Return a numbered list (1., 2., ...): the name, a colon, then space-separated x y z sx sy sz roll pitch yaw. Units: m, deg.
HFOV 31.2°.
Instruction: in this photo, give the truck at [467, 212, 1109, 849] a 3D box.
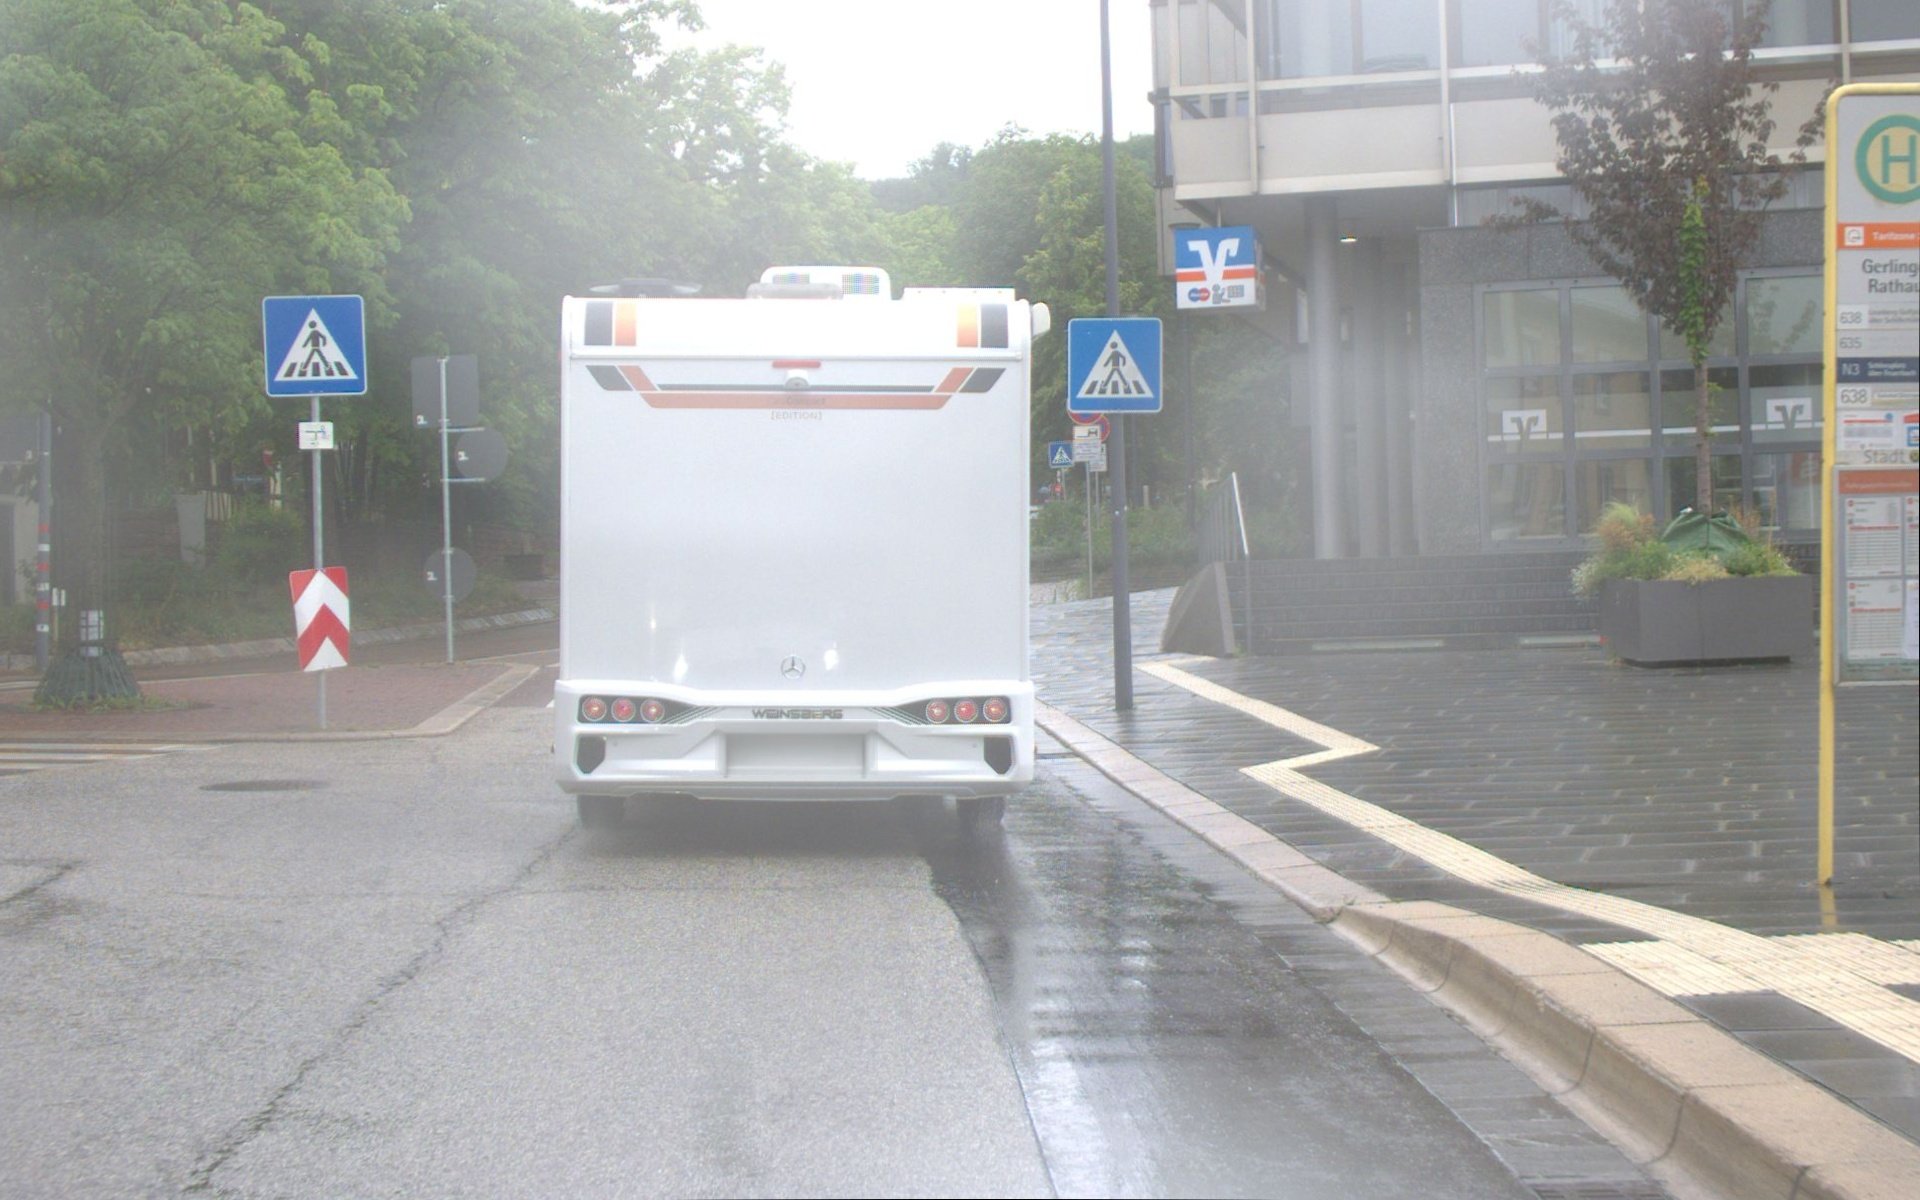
1. truck: -0.916 -0.325 18.769 2.805 2.787 6.107 -3 0 -2
